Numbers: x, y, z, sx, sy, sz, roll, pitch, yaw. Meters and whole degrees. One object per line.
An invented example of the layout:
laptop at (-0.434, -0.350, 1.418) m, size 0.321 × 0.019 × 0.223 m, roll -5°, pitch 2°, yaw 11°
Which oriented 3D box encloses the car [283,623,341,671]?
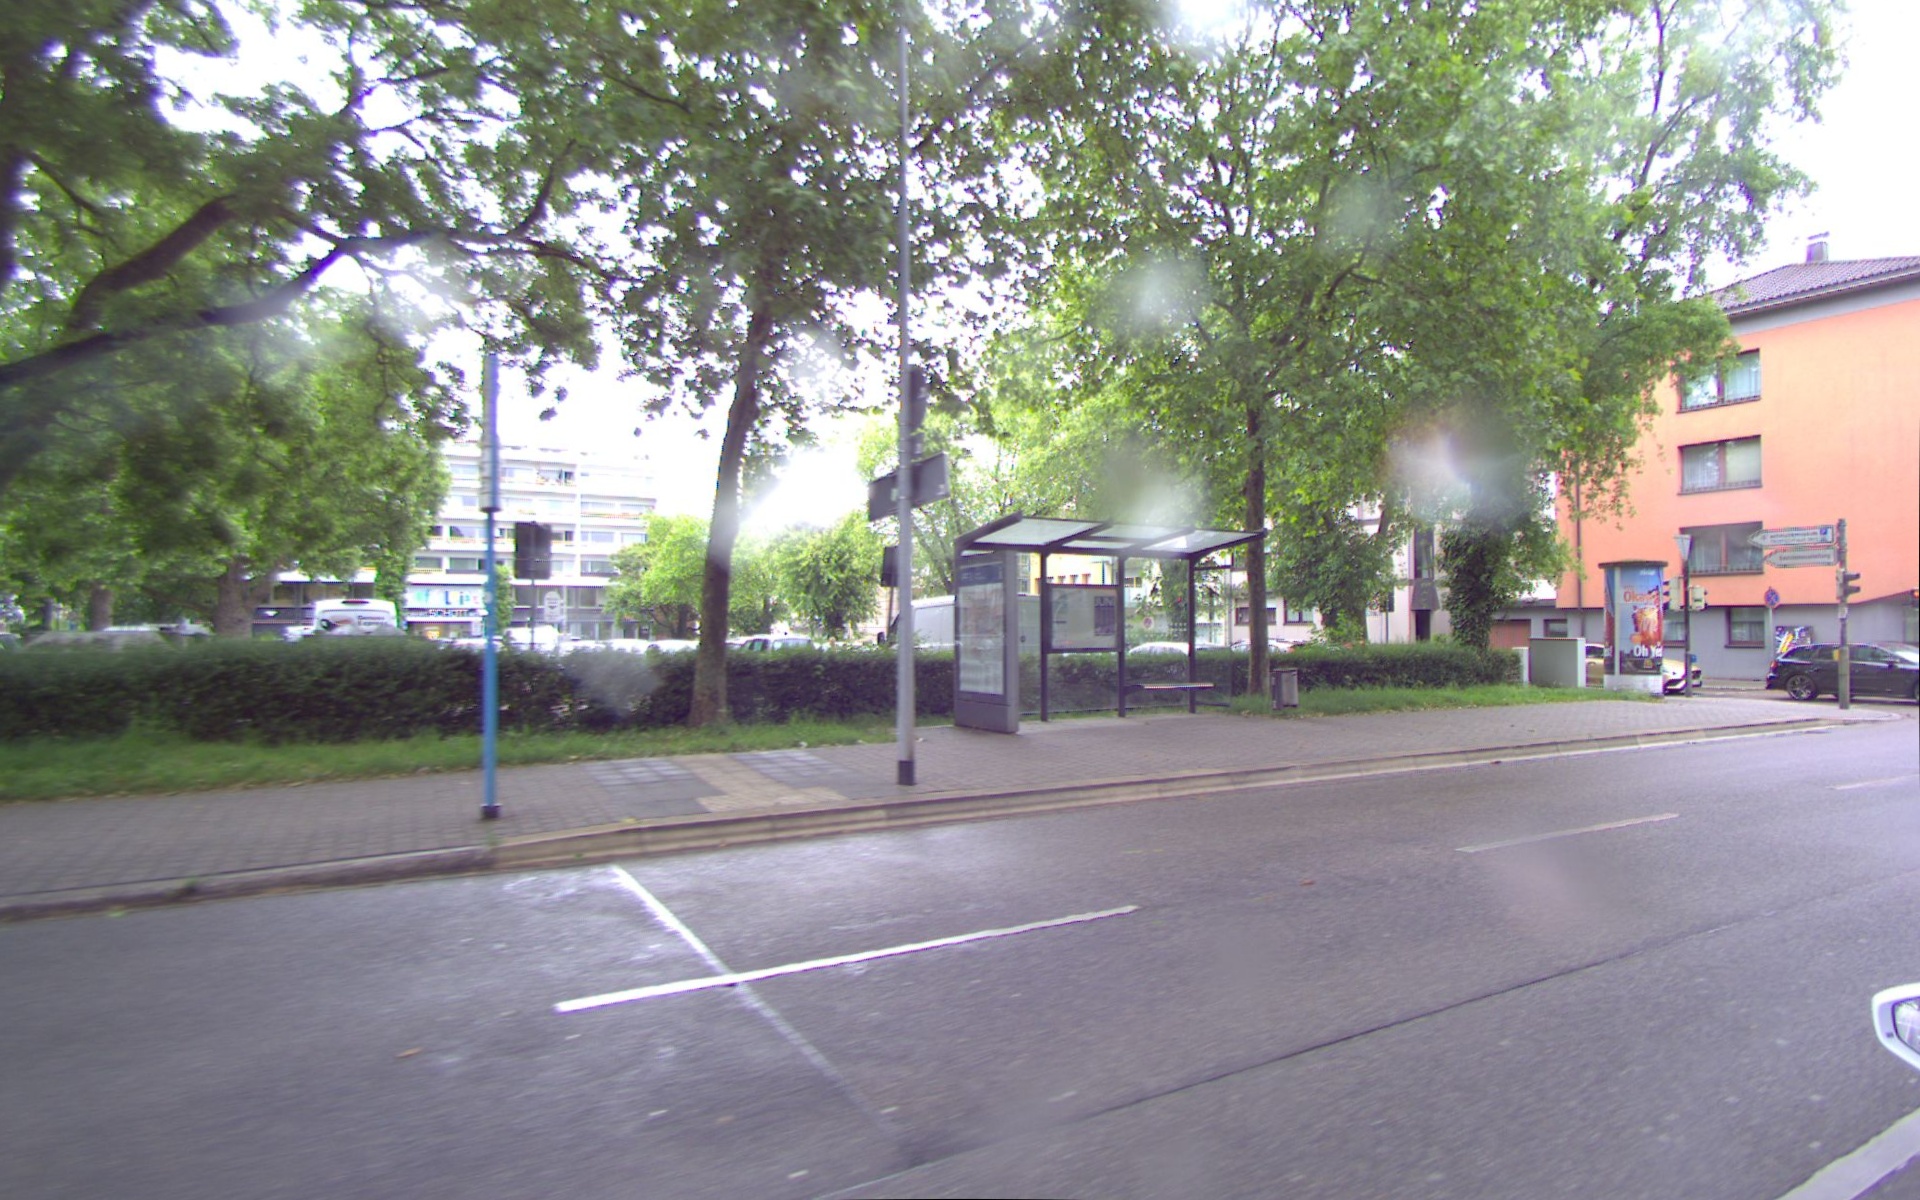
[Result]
car at (-26.419, 1.916, 41.049) m, size 1.782 × 1.848 × 3.969 m, roll 1°, pitch -3°, yaw -30°

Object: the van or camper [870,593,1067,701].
van or camper at (0.036, 0.927, 20.723) m, size 1.977 × 1.975 × 4.572 m, roll 1°, pitch -2°, yaw -31°

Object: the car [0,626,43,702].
car at (-21.972, 1.402, 21.969) m, size 1.840 × 1.647 × 4.023 m, roll 1°, pitch -2°, yaw -28°

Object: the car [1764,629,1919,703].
car at (21.711, 1.510, 23.544) m, size 1.824 × 1.646 × 4.119 m, roll 0°, pitch -3°, yaw -21°

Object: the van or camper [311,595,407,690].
van or camper at (-17.024, 1.185, 28.639) m, size 2.073 × 2.463 × 4.310 m, roll 1°, pitch -2°, yaw -28°

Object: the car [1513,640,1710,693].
car at (19.137, 1.927, 29.757) m, size 1.809 × 1.422 × 4.618 m, roll 1°, pitch -3°, yaw -28°
